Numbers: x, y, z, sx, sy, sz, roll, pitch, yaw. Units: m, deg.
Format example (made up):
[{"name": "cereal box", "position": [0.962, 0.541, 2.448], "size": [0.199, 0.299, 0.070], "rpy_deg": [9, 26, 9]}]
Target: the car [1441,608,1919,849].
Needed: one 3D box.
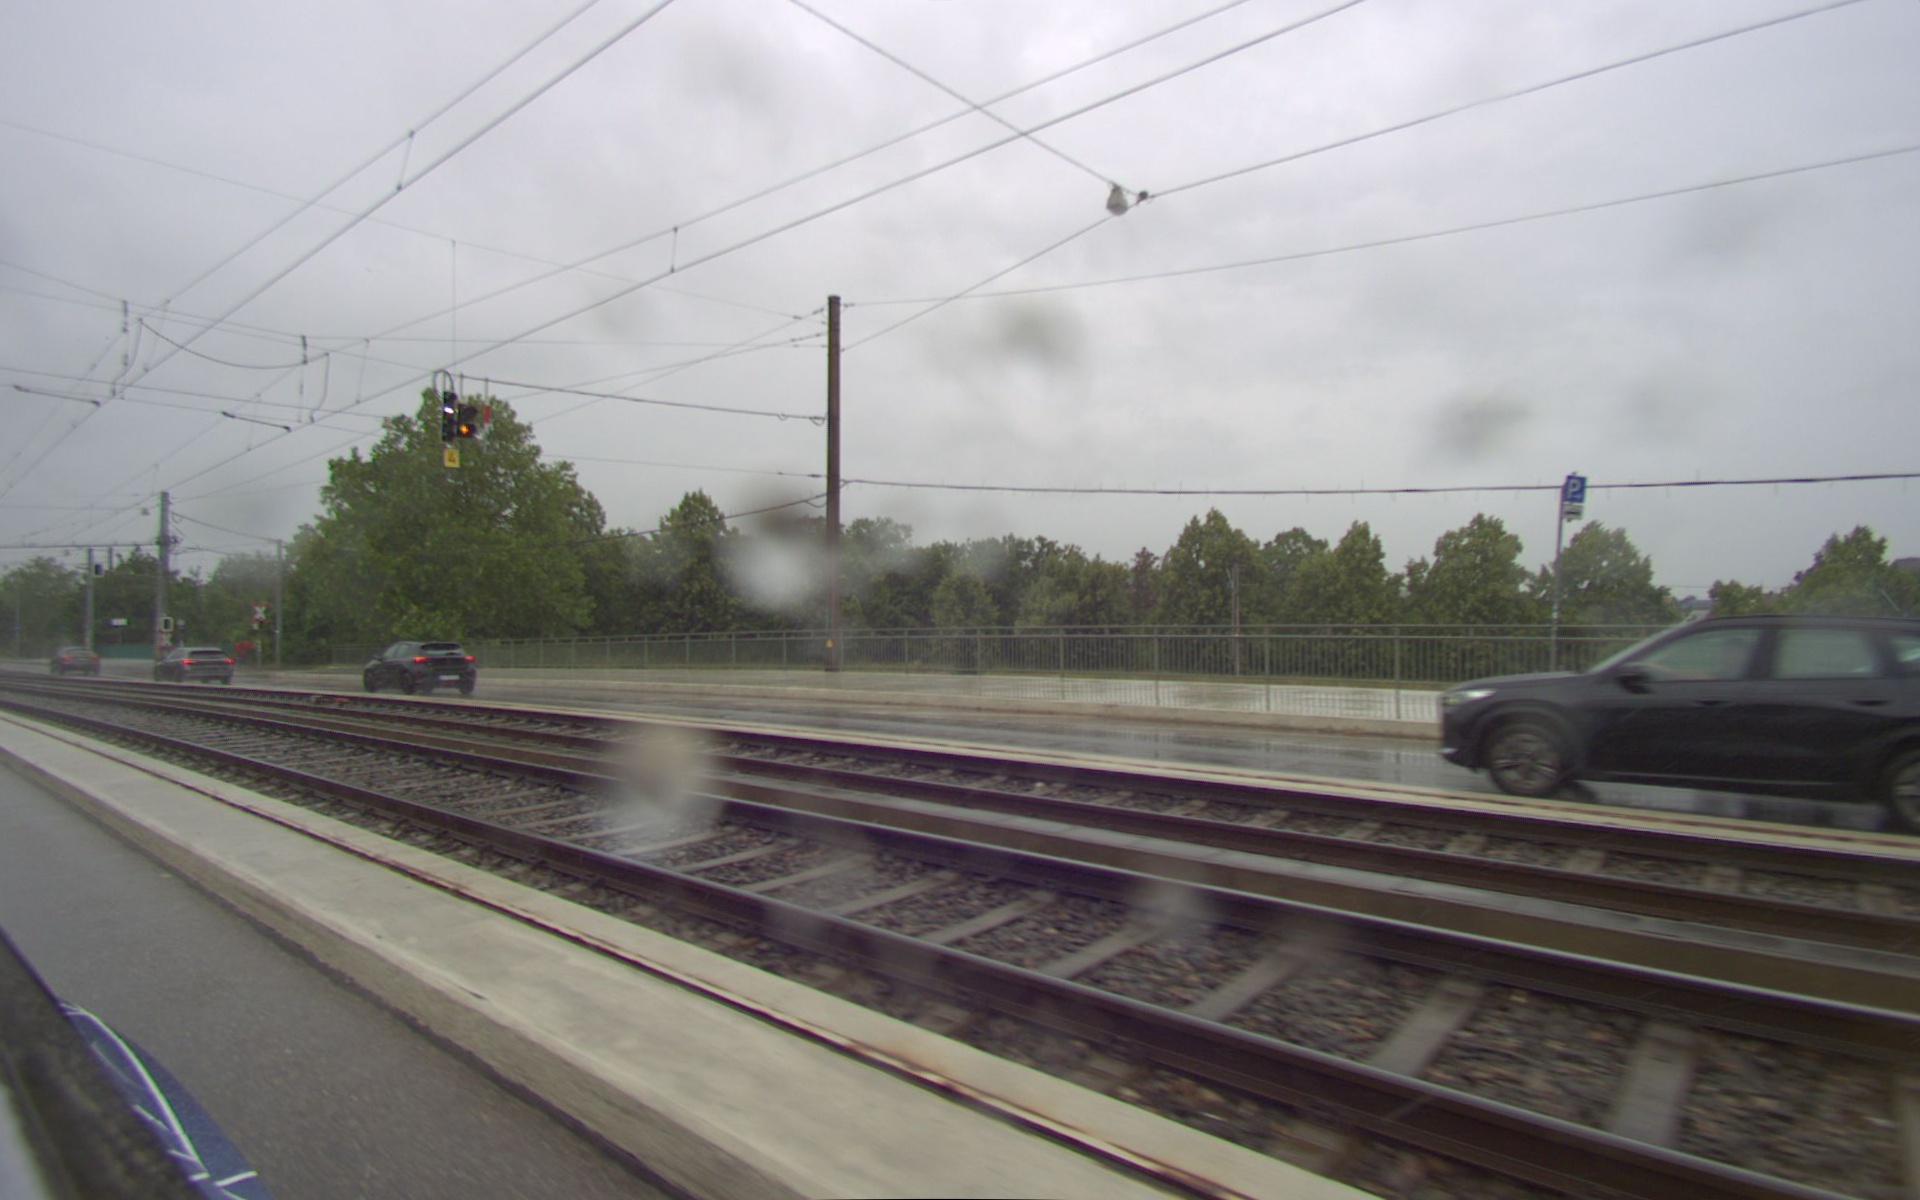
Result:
[{"name": "car", "position": [6.494, 0.933, 8.606], "size": [3.998, 1.667, 1.799], "rpy_deg": [-1, 0, 41]}]

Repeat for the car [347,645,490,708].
[{"name": "car", "position": [-14.607, 2.006, 27.227], "size": [4.088, 1.521, 1.973], "rpy_deg": [-1, -3, 40]}]

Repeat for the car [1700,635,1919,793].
[{"name": "car", "position": [10.136, 1.114, 9.857], "size": [4.616, 1.467, 1.973], "rpy_deg": [-1, -3, 40]}]

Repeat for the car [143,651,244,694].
[{"name": "car", "position": [-30.958, 2.872, 40.824], "size": [5.107, 1.521, 1.974], "rpy_deg": [-1, -3, 39]}]

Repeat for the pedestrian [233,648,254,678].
[{"name": "pedestrian", "position": [-45.439, 3.987, 64.173], "size": [1.042, 1.832, 0.856], "rpy_deg": [-1, 0, 39]}]

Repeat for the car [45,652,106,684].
[{"name": "car", "position": [-51.823, 3.959, 59.278], "size": [4.938, 1.730, 1.973], "rpy_deg": [-1, -3, 41]}]
